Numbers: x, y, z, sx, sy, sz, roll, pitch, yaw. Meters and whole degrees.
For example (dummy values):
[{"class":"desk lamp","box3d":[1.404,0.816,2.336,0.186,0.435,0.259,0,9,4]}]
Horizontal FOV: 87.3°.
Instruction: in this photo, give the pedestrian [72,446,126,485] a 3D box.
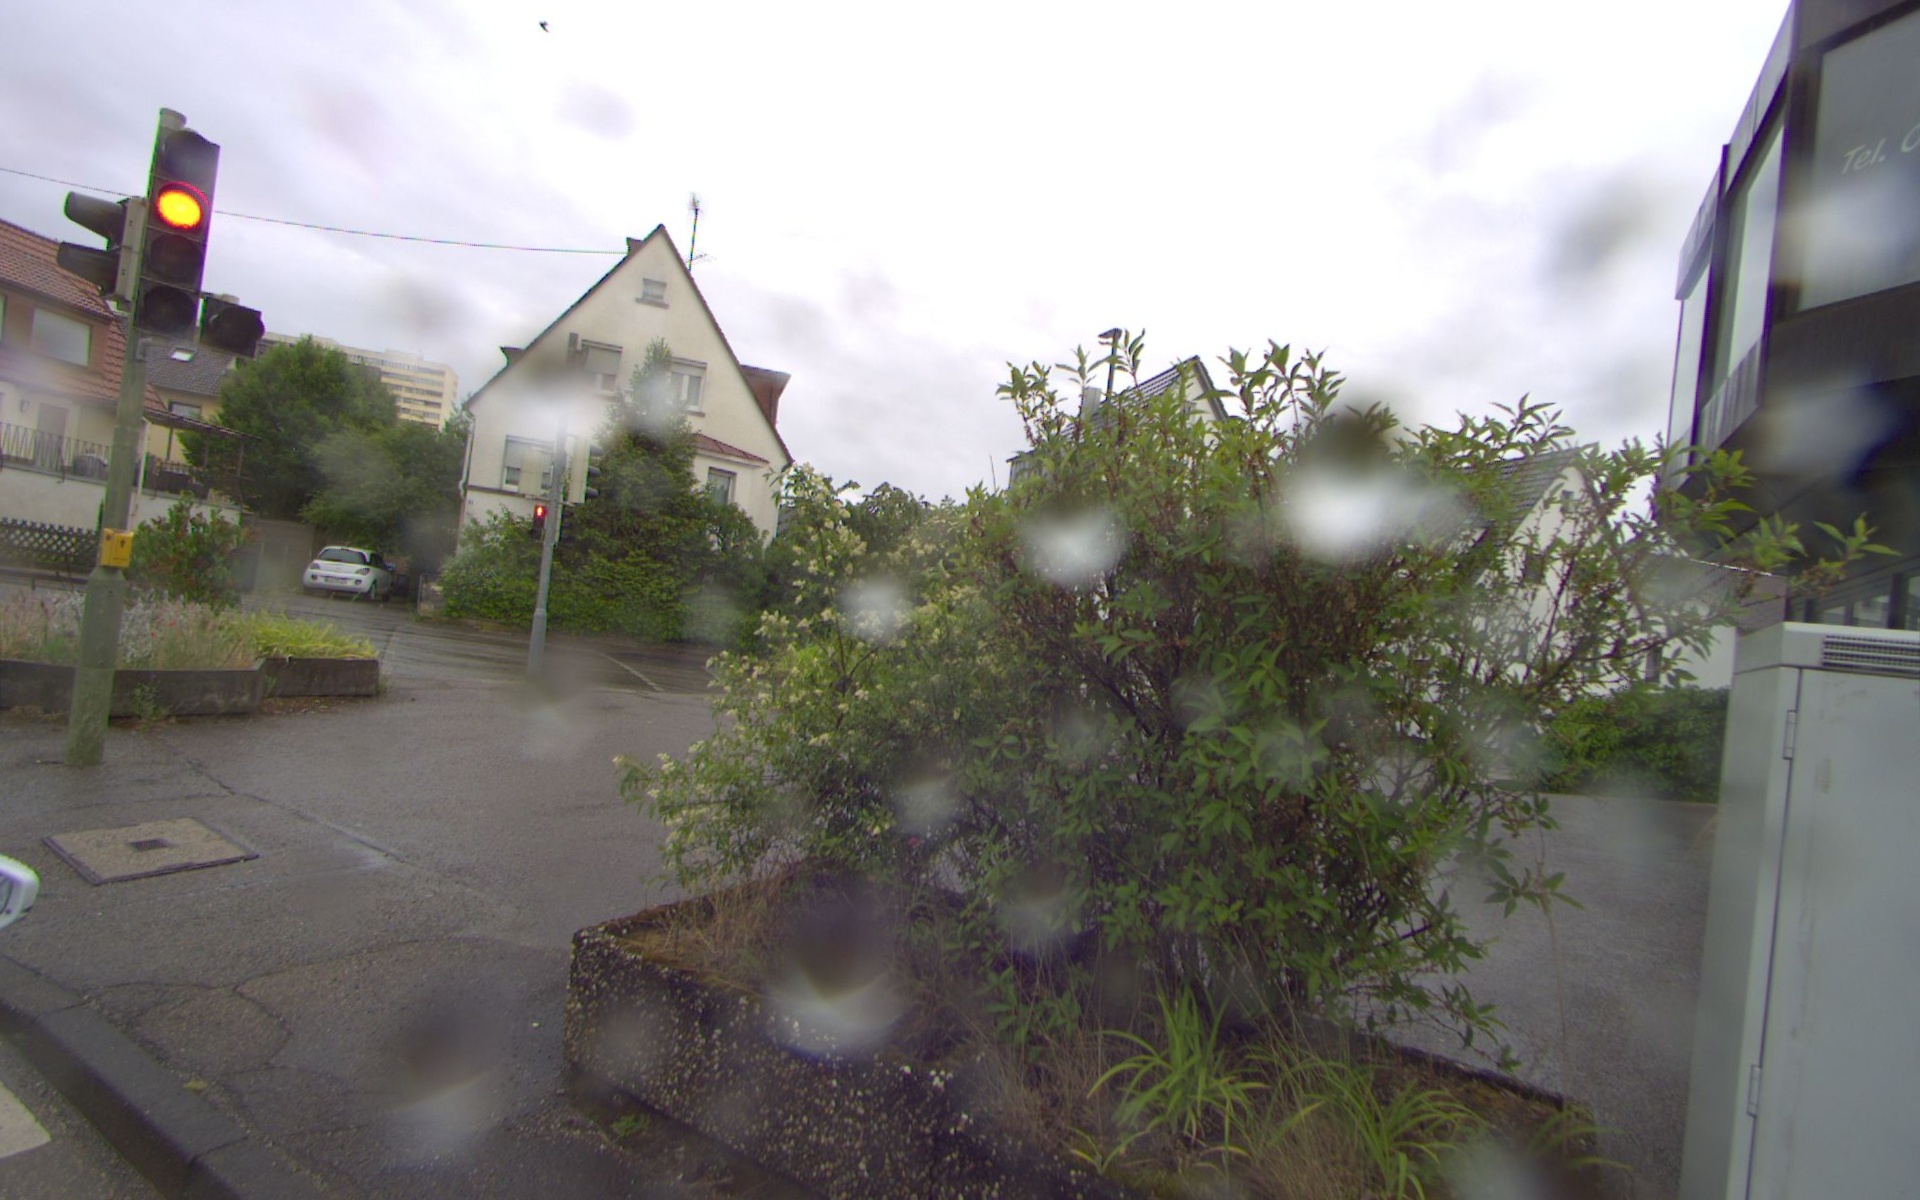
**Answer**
[{"class":"pedestrian","box3d":[-24.262,-3.795,28.361,0.623,0.893,0.920,5,-2,13]}]

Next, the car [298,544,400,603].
[{"class":"car","box3d":[-17.746,-0.738,29.410,1.794,1.378,3.981,8,-2,-22]}]
